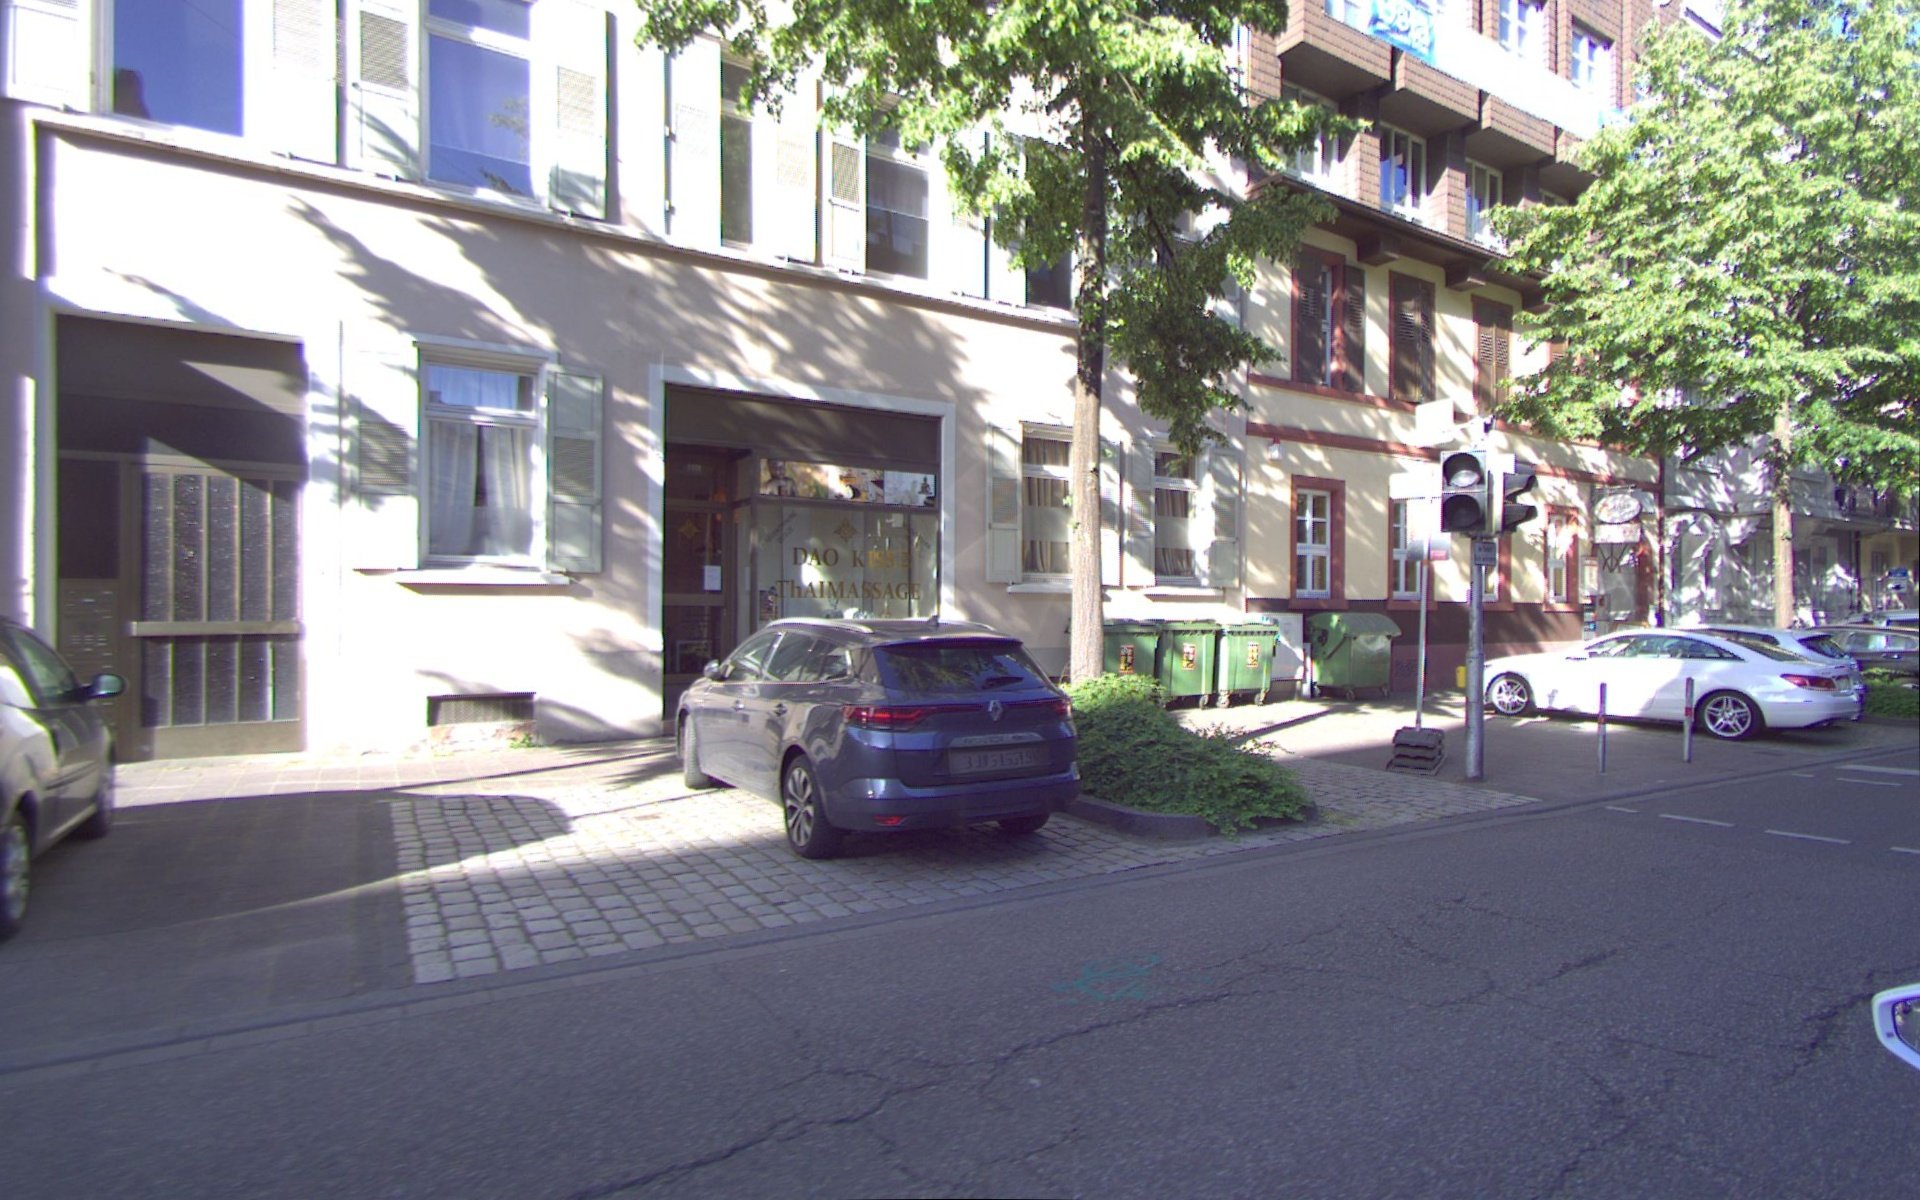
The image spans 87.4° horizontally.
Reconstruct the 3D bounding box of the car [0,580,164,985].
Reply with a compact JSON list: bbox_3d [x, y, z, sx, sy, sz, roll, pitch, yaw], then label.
[{"bbox_3d":[-5.731,0.755,5.319,1.923,1.662,3.965,1,-1,-32],"label":"car"}]

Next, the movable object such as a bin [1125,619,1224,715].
[{"bbox_3d":[3.236,0.987,15.169,1.233,1.373,0.826,1,0,-28],"label":"movable object such as a bin"}]

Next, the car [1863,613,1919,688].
[{"bbox_3d":[24.121,1.201,23.378,1.896,1.756,4.314,1,-1,-33],"label":"car"}]

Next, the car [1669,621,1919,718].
[{"bbox_3d":[15.699,1.194,18.257,1.950,1.565,4.299,1,-1,-42],"label":"car"}]

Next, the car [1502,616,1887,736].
[{"bbox_3d":[11.629,1.080,16.249,1.980,1.512,4.667,0,1,-35],"label":"car"}]

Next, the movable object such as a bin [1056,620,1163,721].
[{"bbox_3d":[2.157,0.981,14.505,1.245,1.385,0.905,1,-1,-28],"label":"movable object such as a bin"}]

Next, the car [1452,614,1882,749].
[{"bbox_3d":[9.887,1.028,14.443,1.981,1.512,4.667,2,-1,-35],"label":"car"}]

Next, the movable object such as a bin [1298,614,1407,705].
[{"bbox_3d":[6.702,0.981,17.167,1.364,1.464,1.129,1,-1,-28],"label":"movable object such as a bin"}]

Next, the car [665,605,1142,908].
[{"bbox_3d":[-0.760,0.836,7.568,1.921,1.565,4.320,1,-1,-29],"label":"car"}]

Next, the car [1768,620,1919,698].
[{"bbox_3d":[20.069,1.214,21.199,1.892,1.565,4.324,1,-1,-27],"label":"car"}]

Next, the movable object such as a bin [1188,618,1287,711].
[{"bbox_3d":[4.371,0.987,15.823,1.329,1.380,0.814,1,0,-29],"label":"movable object such as a bin"}]

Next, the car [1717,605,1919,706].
[{"bbox_3d":[17.888,1.035,19.845,1.907,1.848,4.320,1,-1,-29],"label":"car"}]

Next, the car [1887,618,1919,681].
[{"bbox_3d":[26.088,1.265,24.852,1.896,1.616,4.314,1,-1,-33],"label":"car"}]
